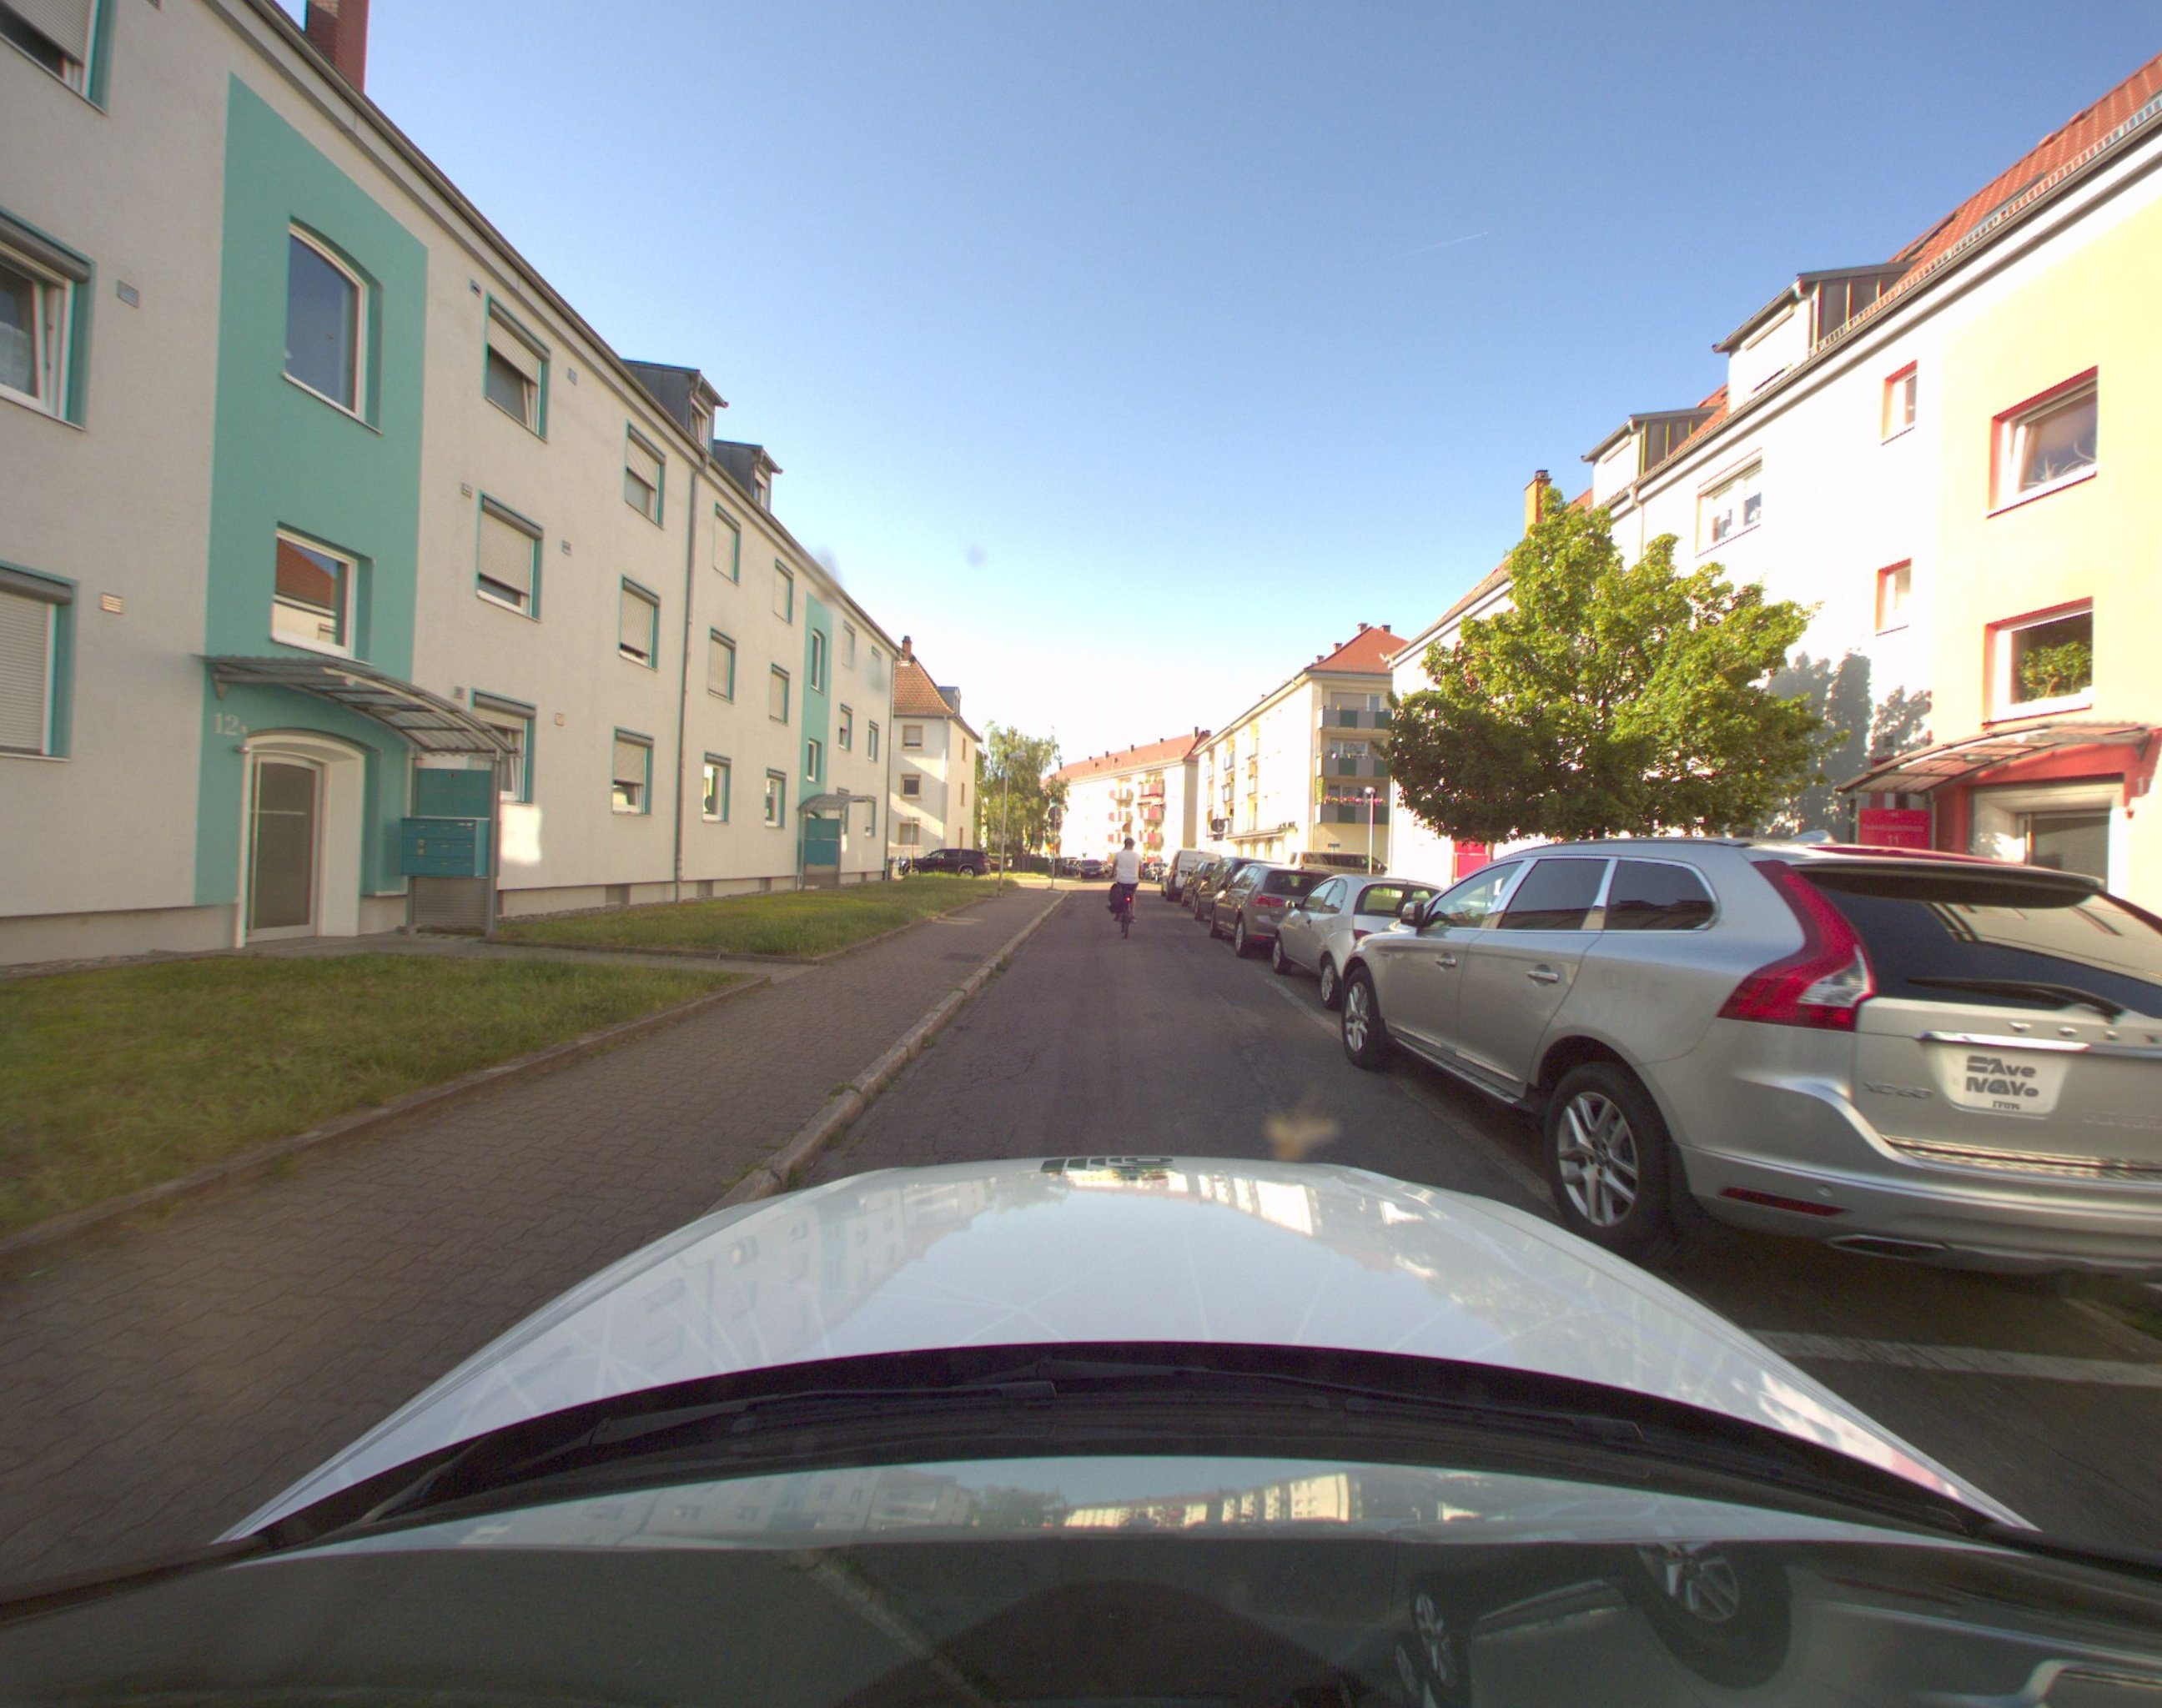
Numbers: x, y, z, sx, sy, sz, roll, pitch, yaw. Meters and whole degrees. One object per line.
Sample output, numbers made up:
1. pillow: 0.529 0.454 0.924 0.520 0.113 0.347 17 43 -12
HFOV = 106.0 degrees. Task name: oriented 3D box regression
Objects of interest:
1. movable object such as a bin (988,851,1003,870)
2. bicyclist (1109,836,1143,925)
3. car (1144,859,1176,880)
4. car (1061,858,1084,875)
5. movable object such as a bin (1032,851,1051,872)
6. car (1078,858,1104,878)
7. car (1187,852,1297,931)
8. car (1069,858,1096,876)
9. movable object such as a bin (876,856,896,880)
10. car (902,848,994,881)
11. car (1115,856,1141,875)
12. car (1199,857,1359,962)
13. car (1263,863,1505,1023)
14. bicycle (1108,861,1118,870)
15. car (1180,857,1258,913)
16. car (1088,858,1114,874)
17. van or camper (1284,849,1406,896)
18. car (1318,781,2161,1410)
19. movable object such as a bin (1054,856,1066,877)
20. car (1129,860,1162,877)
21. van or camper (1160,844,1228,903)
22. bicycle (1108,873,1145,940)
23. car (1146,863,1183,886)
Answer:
1. movable object such as a bin: -6.657 0.483 63.213 1.057 1.435 1.002 0 0 -1
2. bicyclist: 0.819 0.481 14.965 0.594 1.579 0.907 0 -1 1
3. car: 6.274 1.199 65.333 1.675 1.447 4.715 3 0 -5
4. car: -0.762 1.080 72.153 1.554 1.442 3.958 -1 0 -7
5. movable object such as a bin: -2.832 0.527 57.940 1.214 1.380 0.768 2 -1 4
6. car: 0.741 1.021 61.697 1.674 1.453 4.615 -1 0 -3
7. car: 3.551 0.773 18.539 1.613 1.550 3.608 2 0 -2
8. car: 0.092 1.047 66.840 1.676 1.442 4.269 -1 0 -7
9. movable object such as a bin: -8.216 0.593 34.374 0.611 0.992 0.715 2 0 0
10. car: -6.879 0.556 42.461 4.472 1.664 1.720 1 -2 1
11. car: 4.460 1.046 77.855 1.693 1.655 4.378 0 1 -8
12. car: 3.134 0.810 13.674 1.624 1.450 3.949 1 0 -2
13. car: 3.364 0.892 9.751 1.622 1.394 3.491 5 0 2
14. bicycle: 3.914 1.407 99.659 0.619 0.978 1.883 -2 2 -20
15. car: 3.832 0.814 23.089 1.567 1.417 3.787 -1 0 0
16. car: 2.170 1.264 90.421 1.770 1.635 4.018 0 1 -17
17. van or camper: 12.436 0.839 38.622 5.103 2.013 2.001 2 1 2
18. car: 2.874 0.706 4.476 1.770 1.719 4.306 4 0 0
19. movable object such as a bin: -1.498 0.878 57.635 0.773 1.393 1.417 1 -1 0
20. car: 5.624 1.247 71.276 1.695 1.431 4.669 0 -1 -11
21. van or camper: 3.832 0.631 28.402 1.785 1.747 4.737 4 0 2
22. bicycle: 0.819 0.923 14.977 0.625 1.115 1.816 0 0 1
23. car: 5.958 1.448 58.757 1.676 1.407 4.536 3 0 -6
